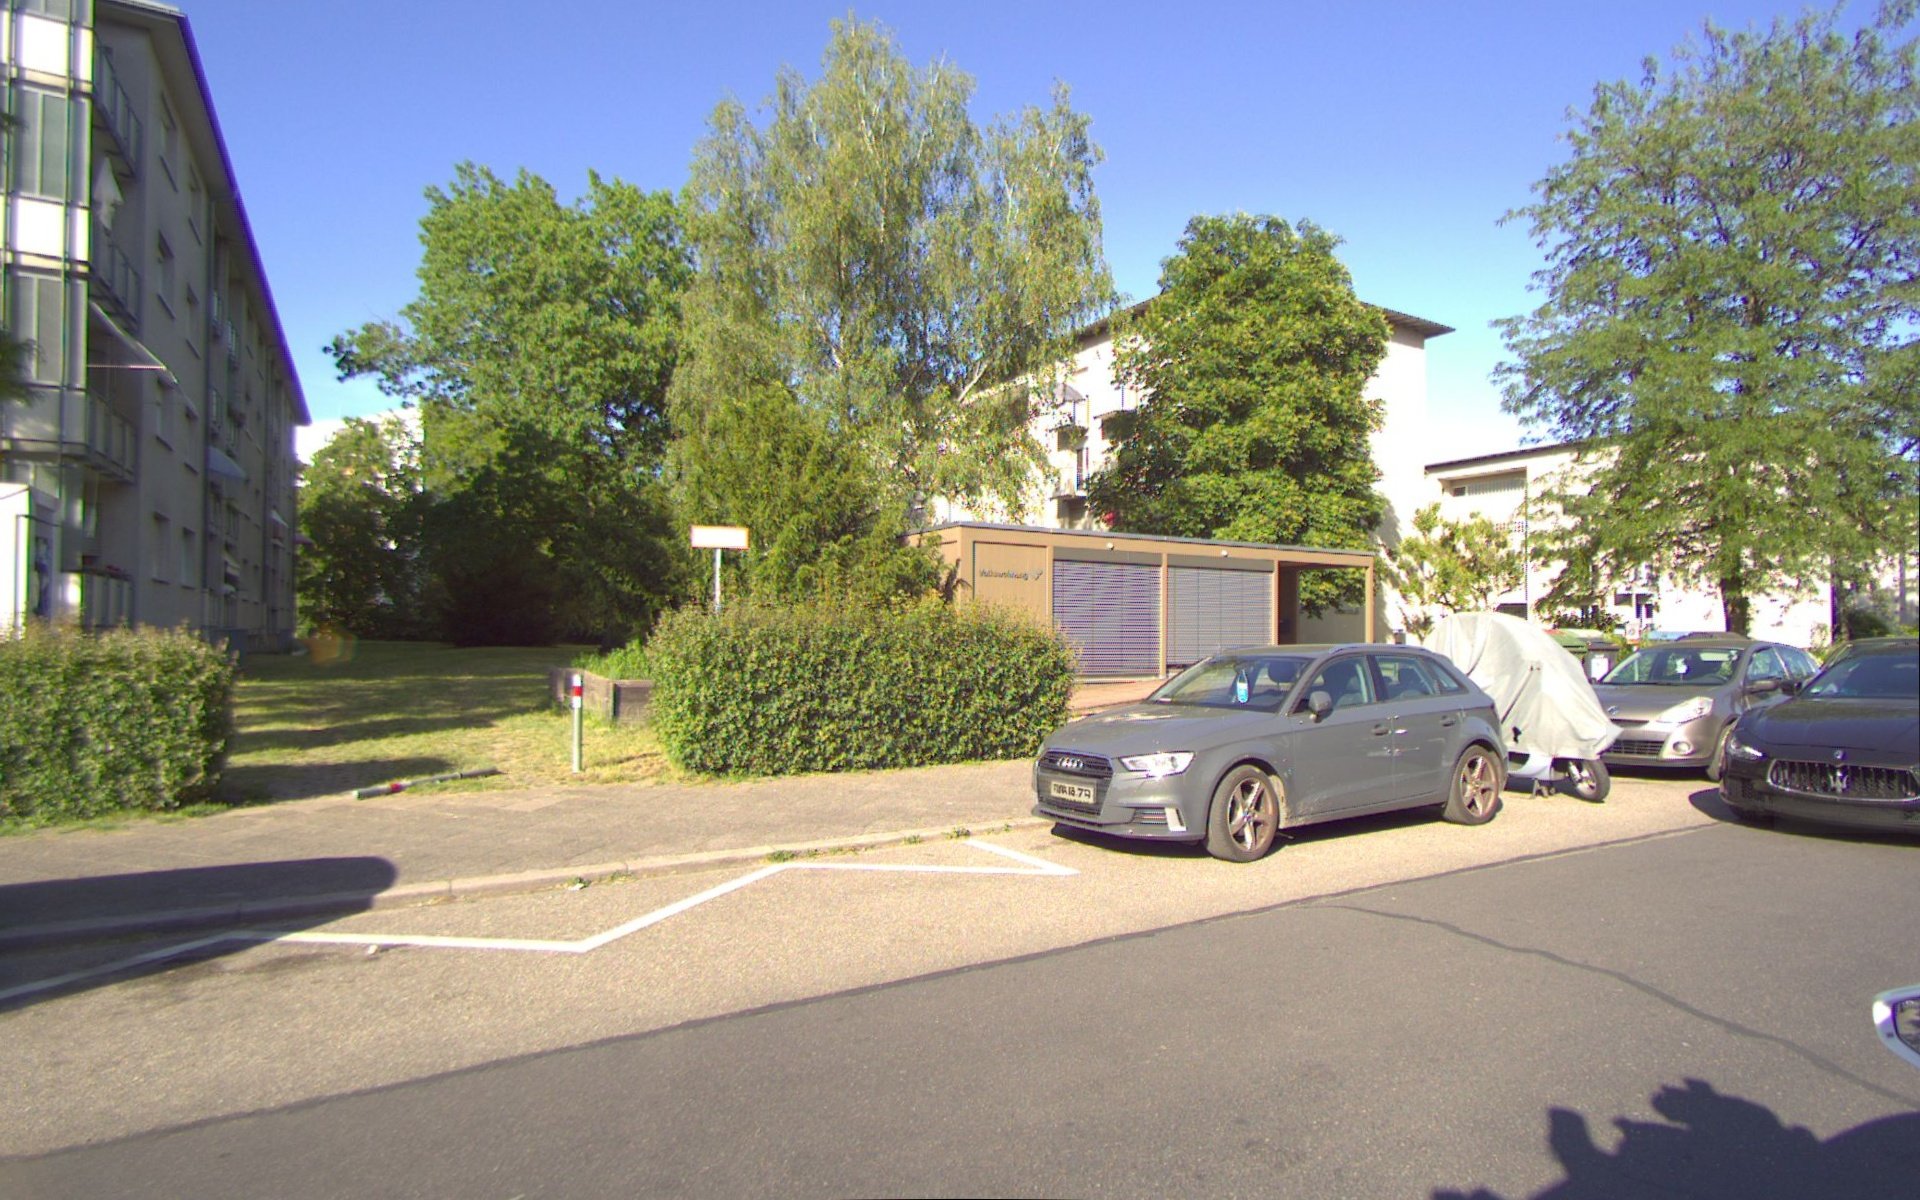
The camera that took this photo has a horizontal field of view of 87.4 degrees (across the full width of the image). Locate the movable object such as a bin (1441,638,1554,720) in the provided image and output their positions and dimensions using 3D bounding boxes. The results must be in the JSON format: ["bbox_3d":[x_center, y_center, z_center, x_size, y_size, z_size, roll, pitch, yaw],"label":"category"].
[{"bbox_3d":[9.105,1.303,17.022,1.327,1.305,1.172,1,-1,-30],"label":"movable object such as a bin"}]

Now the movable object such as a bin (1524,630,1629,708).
[{"bbox_3d":[11.388,1.253,18.574,1.327,1.358,1.172,1,-1,-29],"label":"movable object such as a bin"}]

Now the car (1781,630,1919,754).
[{"bbox_3d":[13.623,1.267,14.427,3.680,1.594,1.745,2,-4,-33],"label":"car"}]

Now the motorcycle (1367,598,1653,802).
[{"bbox_3d":[5.291,0.940,9.856,0.922,1.749,2.243,2,-4,-33],"label":"motorcycle"}]

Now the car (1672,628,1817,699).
[{"bbox_3d":[18.943,1.491,24.218,3.957,1.545,1.561,2,-1,-33],"label":"car"}]

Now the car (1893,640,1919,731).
[{"bbox_3d":[18.060,1.440,17.341,4.487,1.500,1.745,2,-4,-32],"label":"car"}]

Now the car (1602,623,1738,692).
[{"bbox_3d":[18.623,1.468,26.297,3.957,1.662,1.561,2,-1,-33],"label":"car"}]

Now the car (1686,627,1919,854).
[{"bbox_3d":[8.069,0.992,8.183,4.519,1.496,1.901,1,-2,-32],"label":"car"}]

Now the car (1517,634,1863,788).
[{"bbox_3d":[8.470,1.184,11.610,3.912,1.500,1.747,1,-4,-30],"label":"car"}]

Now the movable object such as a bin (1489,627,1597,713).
[{"bbox_3d":[10.288,1.208,17.741,1.327,1.426,1.172,1,-1,-30],"label":"movable object such as a bin"}]

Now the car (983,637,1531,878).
[{"bbox_3d":[2.418,1.046,7.895,4.220,1.439,1.746,2,-4,-31],"label":"car"}]
